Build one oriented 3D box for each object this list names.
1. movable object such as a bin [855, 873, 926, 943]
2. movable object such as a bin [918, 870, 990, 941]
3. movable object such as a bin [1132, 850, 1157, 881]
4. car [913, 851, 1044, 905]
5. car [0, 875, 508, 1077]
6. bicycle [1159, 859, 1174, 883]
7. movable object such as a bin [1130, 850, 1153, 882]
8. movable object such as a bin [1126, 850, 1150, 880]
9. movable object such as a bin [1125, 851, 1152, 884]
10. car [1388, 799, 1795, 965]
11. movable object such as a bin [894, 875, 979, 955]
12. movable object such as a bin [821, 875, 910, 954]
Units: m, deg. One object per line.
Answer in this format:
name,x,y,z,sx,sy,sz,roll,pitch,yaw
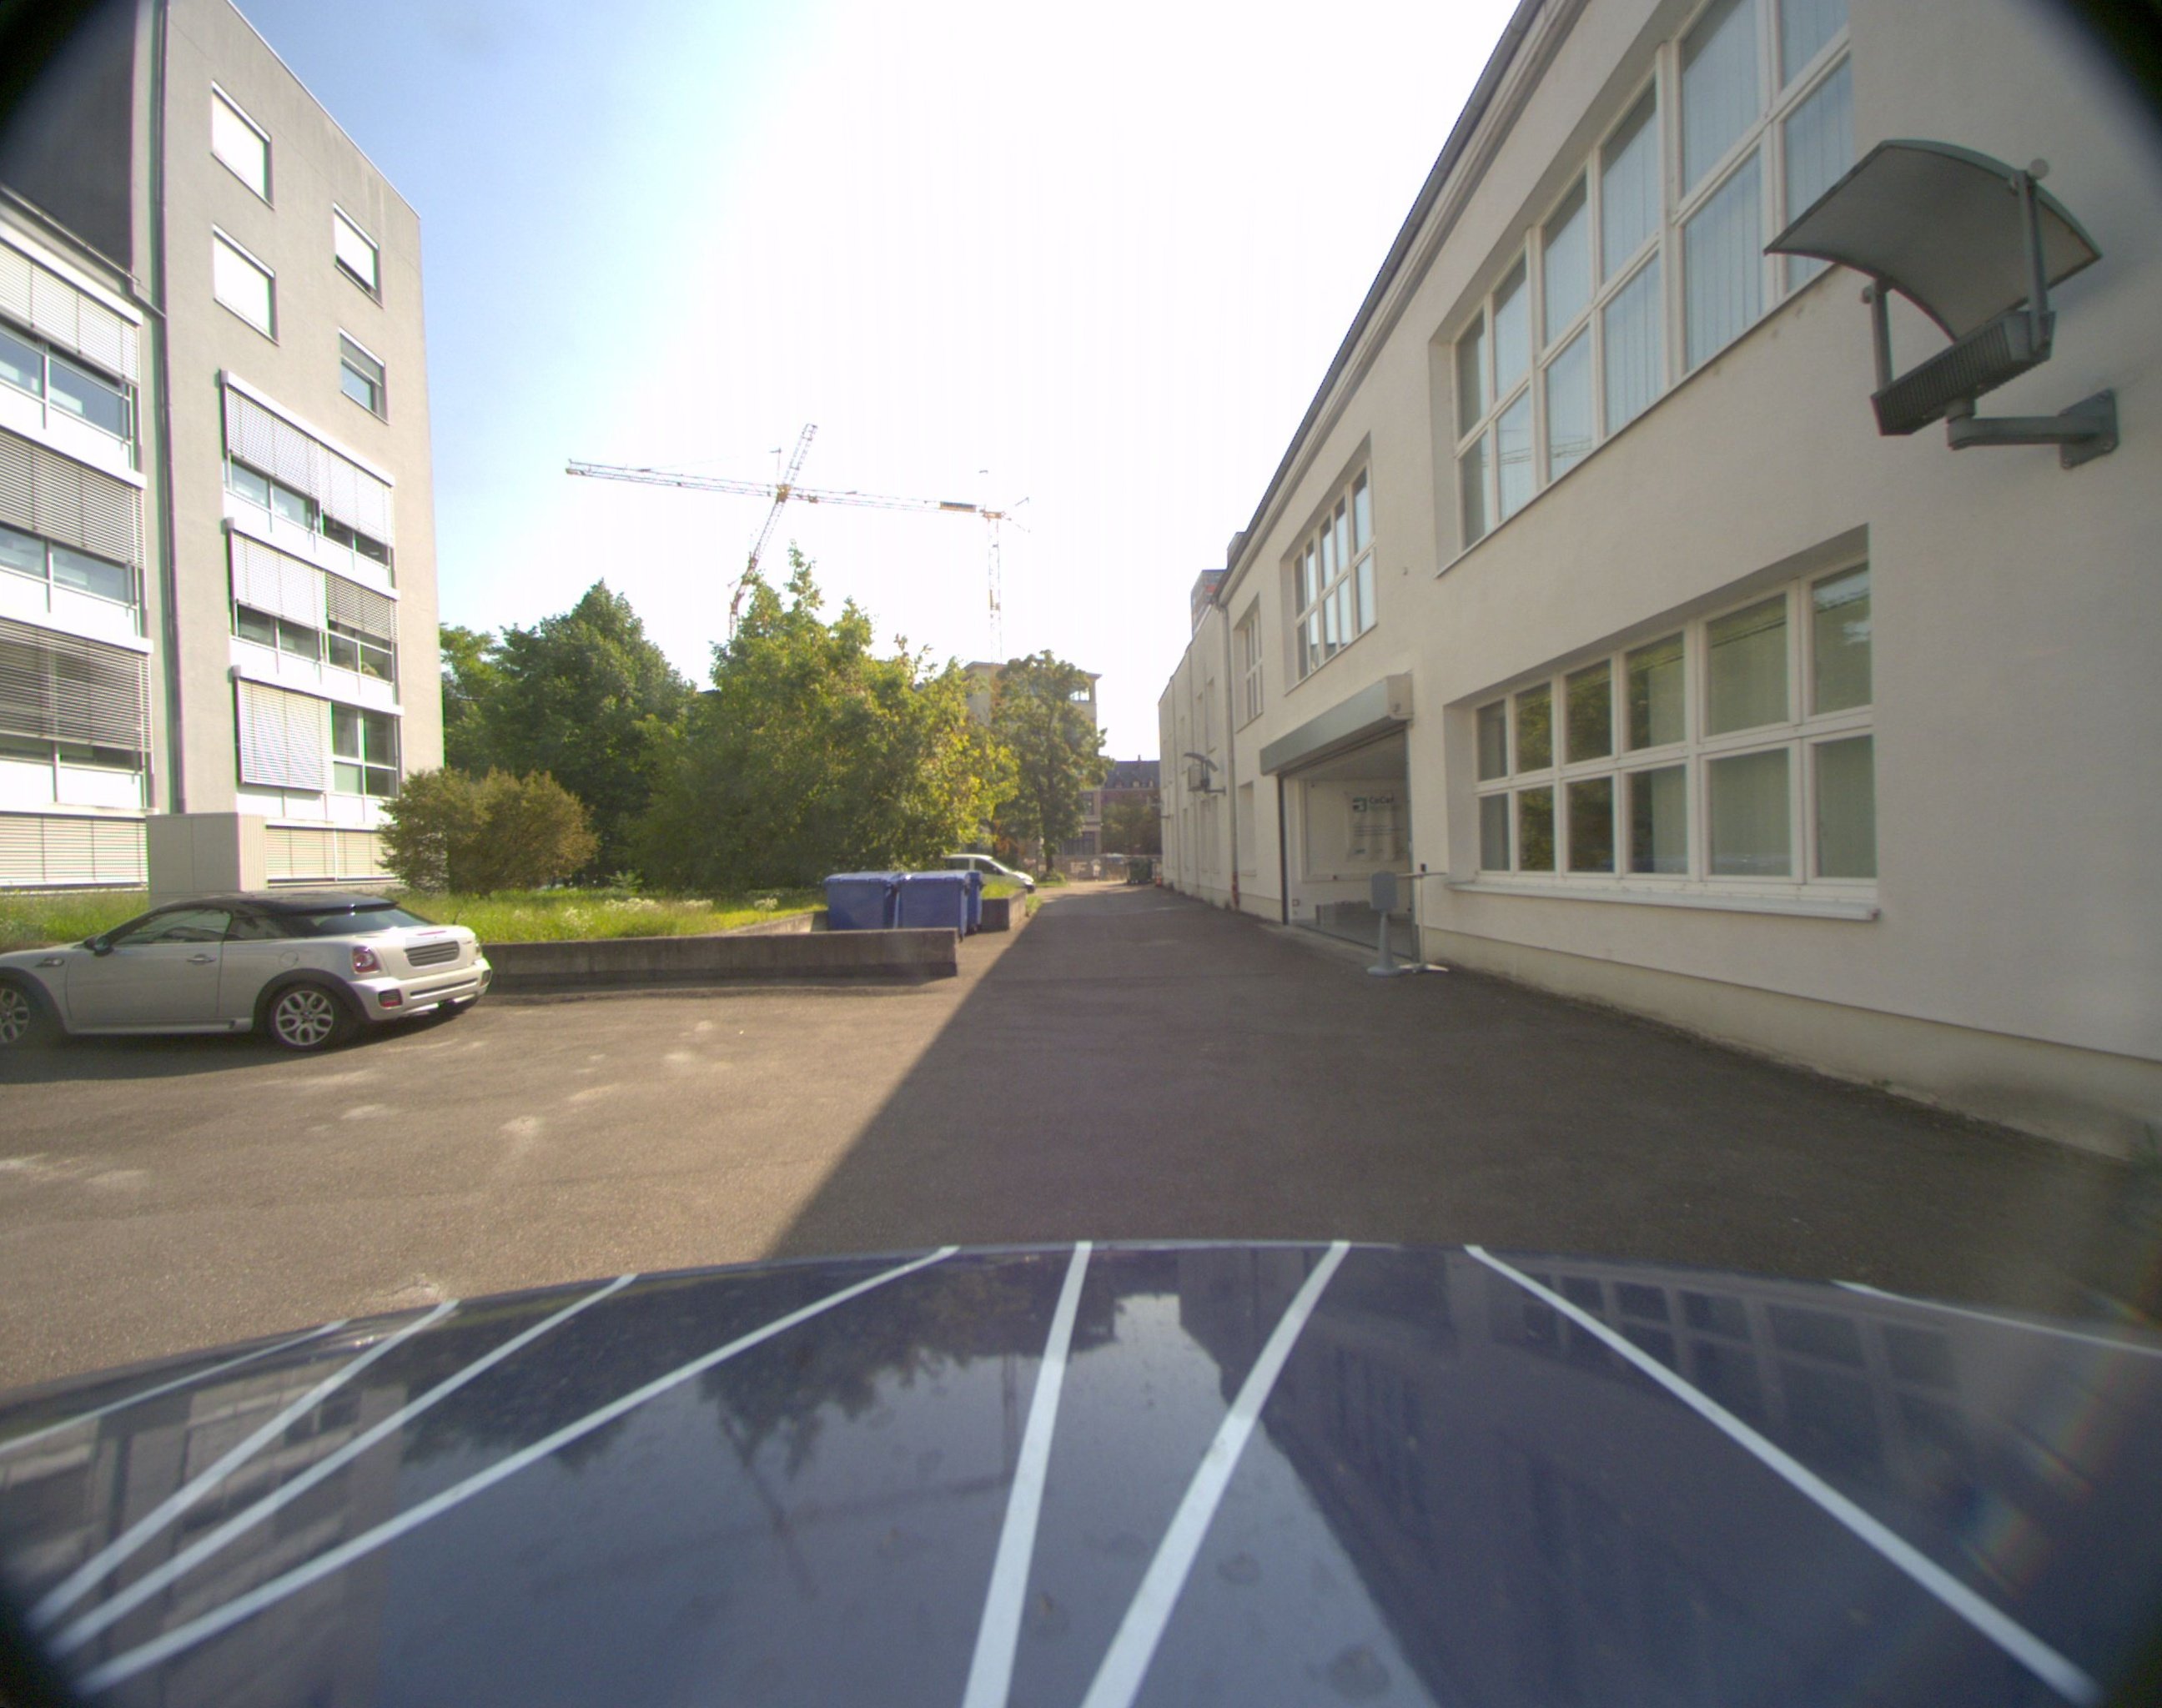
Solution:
movable object such as a bin,-3.955,1.096,15.862,1.230,1.333,1.076,-2,1,-5
movable object such as a bin,-2.621,1.046,15.858,1.313,1.333,1.100,-2,1,-3
movable object such as a bin,3.639,0.645,43.906,1.184,1.696,1.376,-2,1,-4
car,-4.121,0.946,31.256,4.969,1.910,2.044,-3,1,2
car,-8.033,1.063,7.291,3.628,1.536,1.802,2,1,-2
bicycle,4.749,0.932,42.233,0.477,1.206,2.008,-2,1,-2
movable object such as a bin,3.365,0.667,42.496,1.183,1.696,1.395,-2,1,4
movable object such as a bin,3.365,0.643,45.302,1.184,1.696,1.376,-2,1,-4
movable object such as a bin,3.057,0.694,40.694,1.184,1.696,1.376,-2,1,-4
car,7.493,0.375,11.560,4.759,2.080,2.055,-3,1,0
movable object such as a bin,-2.651,1.093,14.106,1.303,1.333,1.194,-2,1,-1
movable object such as a bin,-3.981,1.107,14.144,1.237,1.333,1.117,-2,1,3
